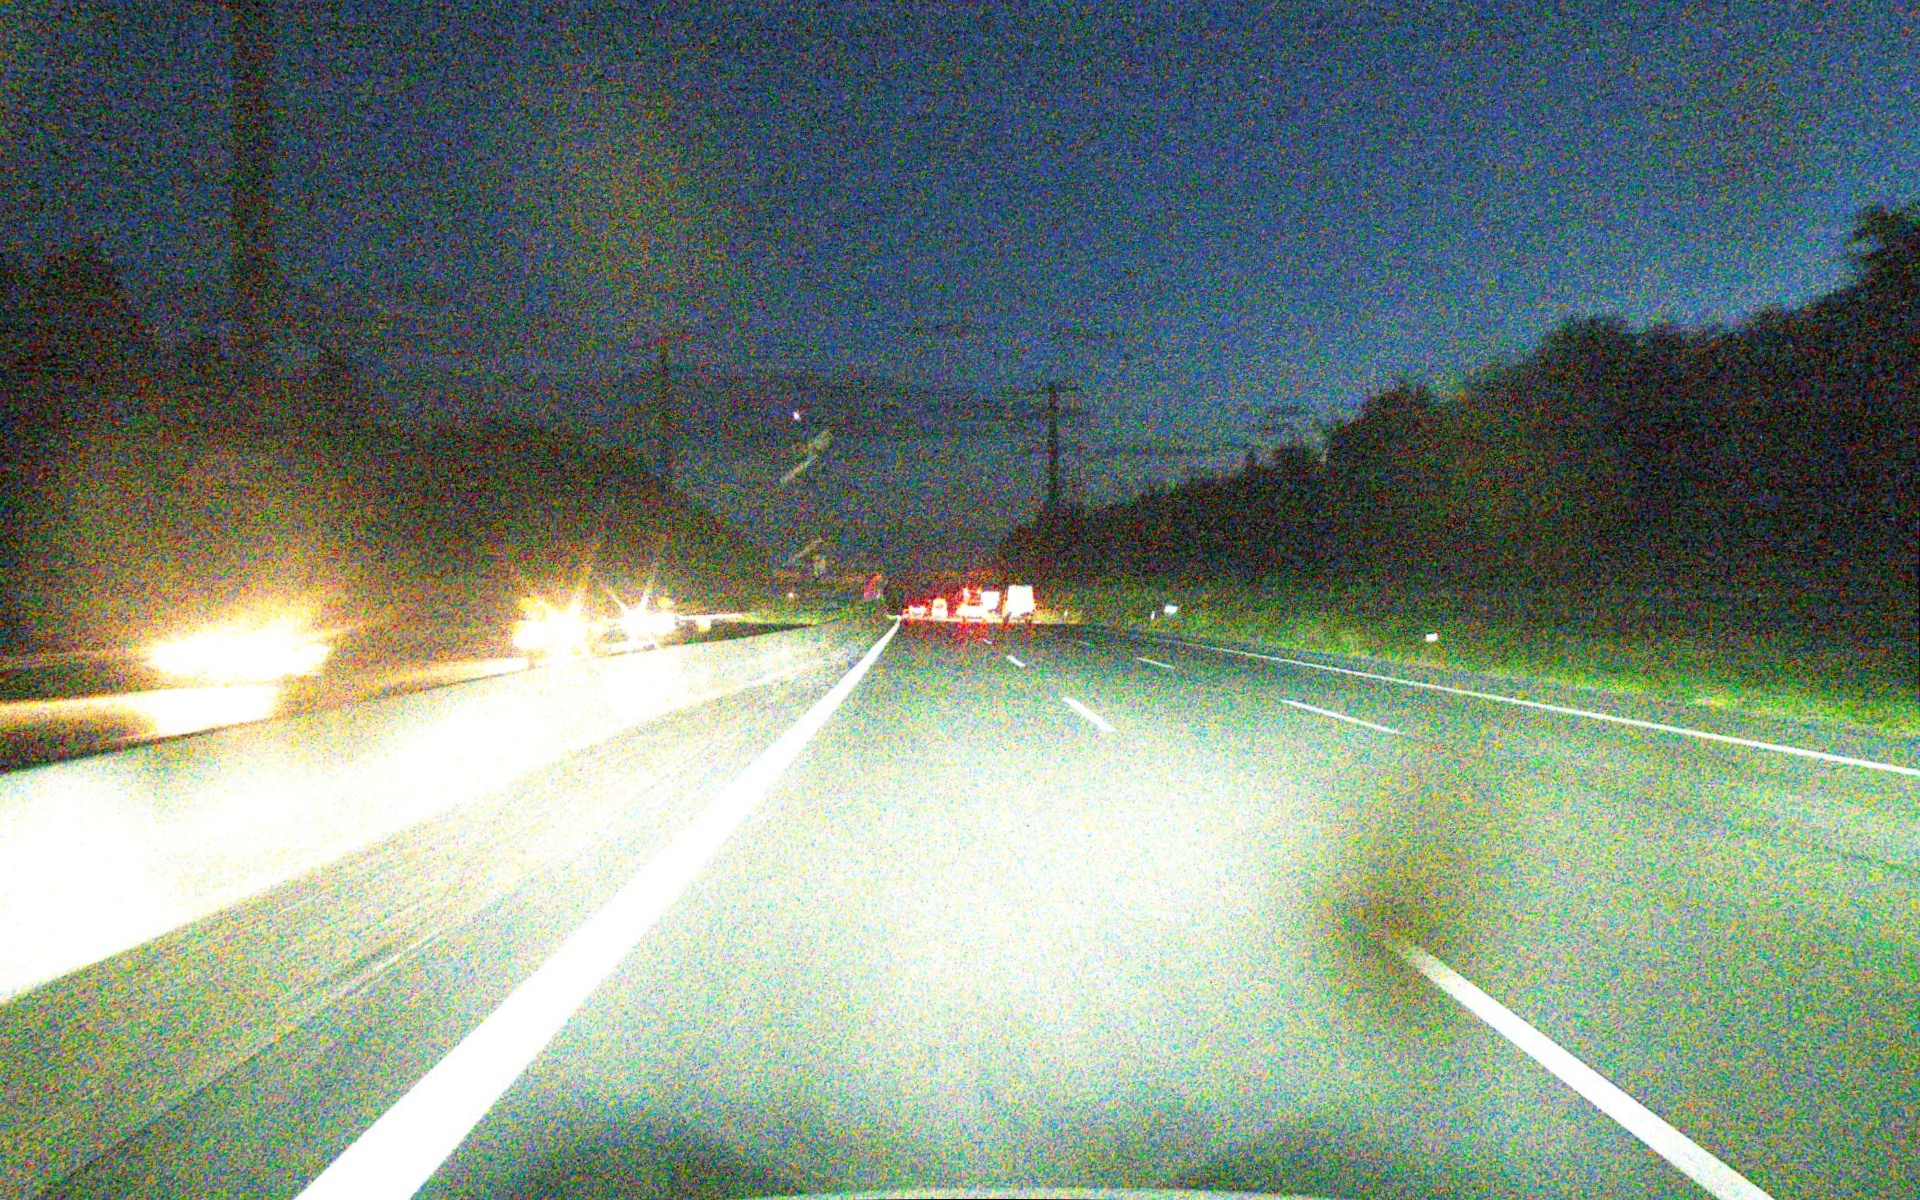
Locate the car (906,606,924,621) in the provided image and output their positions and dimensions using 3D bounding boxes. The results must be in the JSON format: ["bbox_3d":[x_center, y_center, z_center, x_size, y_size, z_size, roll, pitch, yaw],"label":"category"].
[{"bbox_3d":[-4.714,1.390,172.285,1.784,1.492,4.246,1,0,-1],"label":"car"}]

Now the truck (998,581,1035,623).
[{"bbox_3d":[4.159,0.188,122.177,2.035,2.738,7.301,1,-2,-3],"label":"truck"}]

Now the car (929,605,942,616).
[{"bbox_3d":[-3.387,1.472,229.172,1.784,1.492,4.246,1,0,-1],"label":"car"}]

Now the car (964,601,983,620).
[{"bbox_3d":[1.004,0.812,127.019,1.319,1.411,3.500,1,0,-1],"label":"car"}]

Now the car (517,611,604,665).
[{"bbox_3d":[-12.323,1.129,51.272,1.715,1.504,4.580,-2,0,-2],"label":"car"}]

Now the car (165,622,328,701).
[{"bbox_3d":[-15.538,1.292,36.296,1.715,1.504,4.580,-2,0,-2],"label":"car"}]

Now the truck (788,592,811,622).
[{"bbox_3d":[-23.855,1.013,246.471,3.052,4.276,16.963,-2,0,-4],"label":"truck"}]

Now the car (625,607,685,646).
[{"bbox_3d":[-12.869,1.113,69.993,1.715,1.504,4.581,-2,0,-1],"label":"car"}]

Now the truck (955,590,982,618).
[{"bbox_3d":[1.067,0.437,207.142,2.983,3.383,10.138,1,0,-2],"label":"truck"}]
